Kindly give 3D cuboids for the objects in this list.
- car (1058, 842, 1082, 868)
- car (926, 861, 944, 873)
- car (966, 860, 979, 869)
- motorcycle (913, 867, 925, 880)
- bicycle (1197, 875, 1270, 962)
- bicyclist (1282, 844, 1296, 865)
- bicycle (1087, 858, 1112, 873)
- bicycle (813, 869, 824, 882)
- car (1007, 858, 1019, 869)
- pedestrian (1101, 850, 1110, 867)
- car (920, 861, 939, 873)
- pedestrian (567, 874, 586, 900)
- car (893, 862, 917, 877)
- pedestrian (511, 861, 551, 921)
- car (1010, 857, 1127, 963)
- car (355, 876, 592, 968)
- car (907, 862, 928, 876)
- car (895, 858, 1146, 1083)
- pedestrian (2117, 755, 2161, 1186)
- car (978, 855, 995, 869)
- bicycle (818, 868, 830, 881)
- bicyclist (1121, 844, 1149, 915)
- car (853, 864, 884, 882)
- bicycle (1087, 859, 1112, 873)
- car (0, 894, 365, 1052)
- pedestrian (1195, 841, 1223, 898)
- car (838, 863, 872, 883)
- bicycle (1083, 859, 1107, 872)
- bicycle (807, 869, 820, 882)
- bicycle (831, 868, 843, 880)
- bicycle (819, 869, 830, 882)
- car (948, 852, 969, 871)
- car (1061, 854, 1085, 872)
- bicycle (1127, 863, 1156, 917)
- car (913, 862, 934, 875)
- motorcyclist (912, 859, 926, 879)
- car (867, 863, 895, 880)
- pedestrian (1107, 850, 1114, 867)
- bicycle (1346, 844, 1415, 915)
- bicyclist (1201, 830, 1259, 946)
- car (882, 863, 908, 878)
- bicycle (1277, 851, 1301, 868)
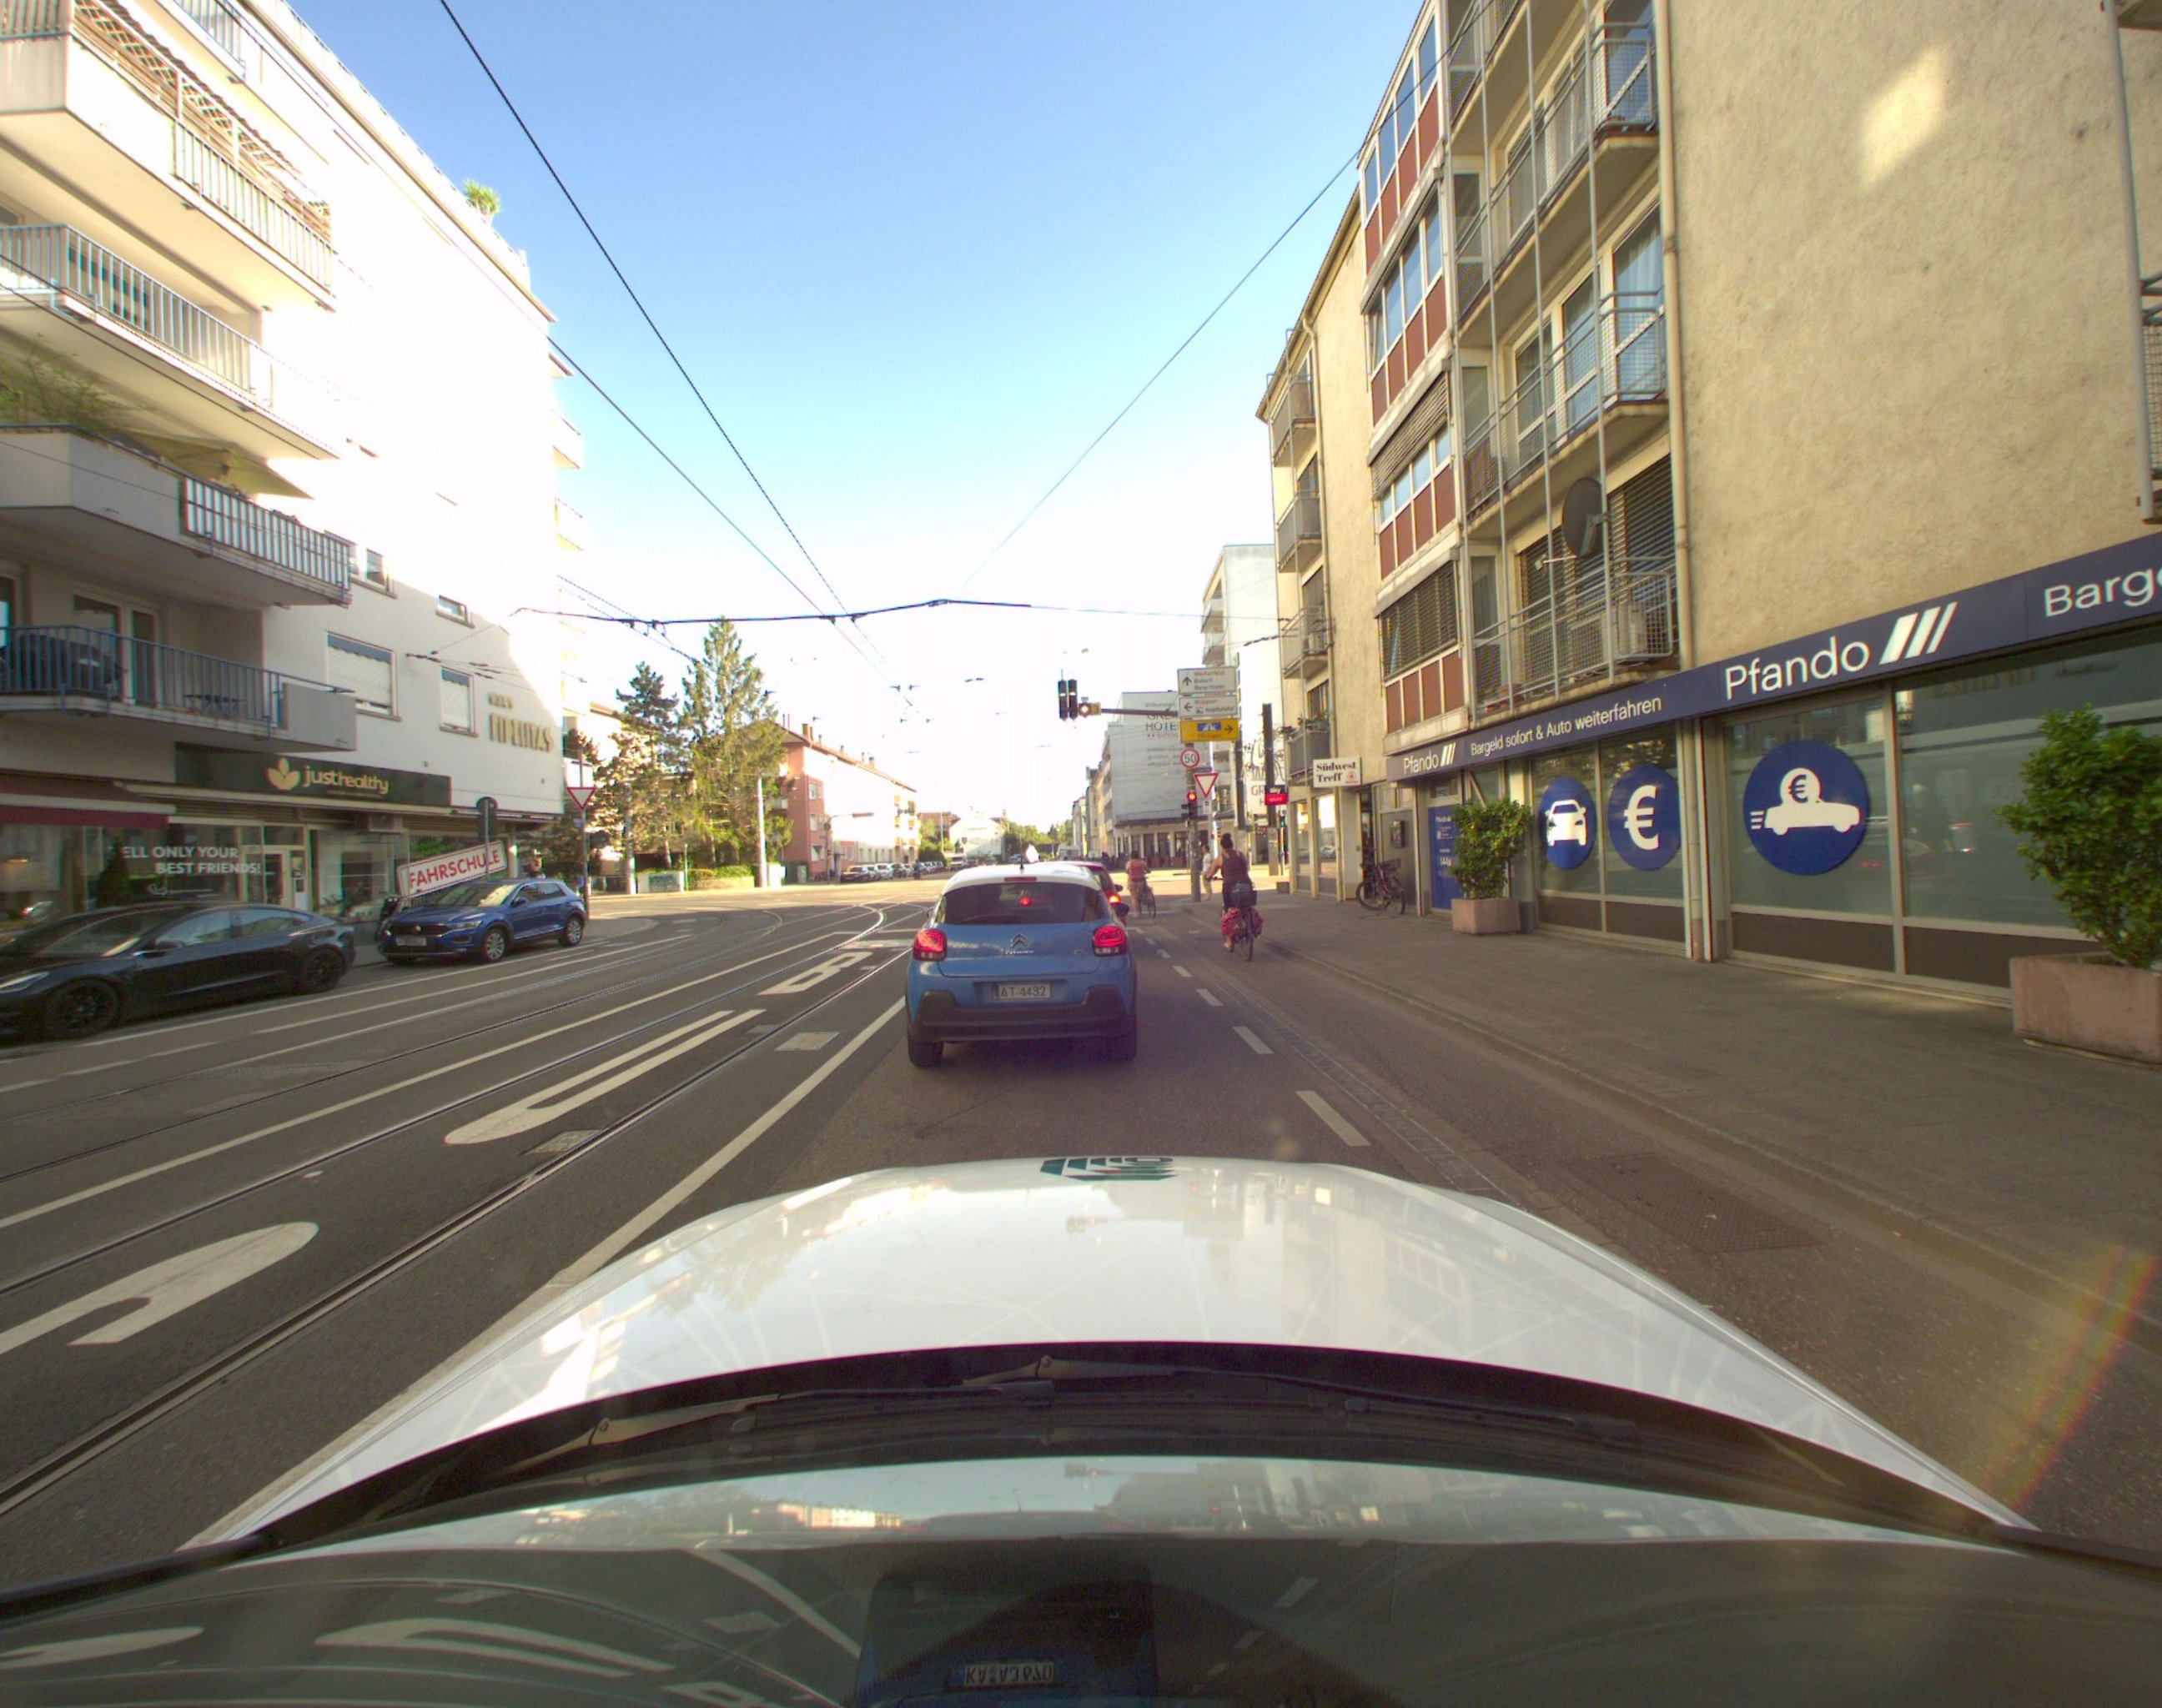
[{"bbox_3d":[-1.039,0.085,73.460,2.074,2.269,5.647,-1,0,-2],"label":"car"},{"bbox_3d":[-20.726,1.844,115.697,1.947,1.519,3.995,-2,0,-4],"label":"car"},{"bbox_3d":[-19.338,1.808,145.258,1.947,1.519,3.995,-2,0,-4],"label":"car"},{"bbox_3d":[-13.484,1.594,67.774,0.751,0.976,2.092,-2,0,-7],"label":"motorcycle"},{"bbox_3d":[2.196,0.902,11.964,0.615,1.103,1.884,-2,0,-2],"label":"bicycle"},{"bbox_3d":[14.457,0.056,56.580,0.720,1.434,0.609,-3,0,39],"label":"bicyclist"},{"bbox_3d":[1.516,0.930,65.949,1.901,1.064,0.641,-2,0,-6],"label":"bicycle"},{"bbox_3d":[-21.975,1.788,68.200,0.537,1.082,1.905,-2,0,-9],"label":"bicycle"},{"bbox_3d":[-14.267,1.971,171.424,2.333,2.039,5.044,-2,0,-4],"label":"car"},{"bbox_3d":[2.103,0.396,70.392,0.520,1.420,0.550,-3,0,22],"label":"pedestrian"},{"bbox_3d":[-20.299,1.766,109.341,1.947,1.519,3.995,-2,0,-4],"label":"car"},{"bbox_3d":[-34.438,2.244,55.576,0.805,1.702,0.681,-2,0,1],"label":"pedestrian"},{"bbox_3d":[-19.982,1.784,92.609,1.947,1.519,3.995,-2,0,-4],"label":"car"},{"bbox_3d":[-17.288,1.167,25.609,0.761,1.834,0.725,-2,0,28],"label":"pedestrian"},{"bbox_3d":[-0.227,0.812,13.721,1.675,1.462,3.997,-1,0,-2],"label":"car"},{"bbox_3d":[-11.879,1.243,16.339,1.720,1.505,4.113,0,0,-2],"label":"car"},{"bbox_3d":[-19.852,1.779,99.038,1.947,1.519,3.995,-2,0,-4],"label":"car"},{"bbox_3d":[-0.452,0.793,7.512,1.675,1.462,3.997,-1,0,-2],"label":"car"},{"bbox_3d":[4.331,0.402,2.599,0.871,1.571,0.868,-4,0,-1],"label":"pedestrian"},{"bbox_3d":[-12.408,1.044,107.514,2.002,1.627,5.044,-2,0,-5],"label":"car"},{"bbox_3d":[-23.050,1.836,73.120,0.536,1.082,1.908,-2,0,-4],"label":"bicycle"},{"bbox_3d":[1.369,0.635,20.707,0.598,1.746,1.084,-2,0,2],"label":"bicyclist"},{"bbox_3d":[-19.572,1.712,75.257,1.947,1.519,4.040,-2,0,-4],"label":"car"},{"bbox_3d":[1.525,0.961,67.255,1.901,1.064,0.641,-2,0,-6],"label":"bicycle"},{"bbox_3d":[-11.984,1.330,10.435,1.720,1.403,4.486,0,0,-2],"label":"car"},{"bbox_3d":[3.839,0.456,24.428,0.747,1.635,0.742,-2,0,7],"label":"pedestrian"},{"bbox_3d":[-19.291,1.595,69.633,1.947,1.519,3.995,-2,0,-4],"label":"car"},{"bbox_3d":[1.159,0.953,68.457,1.901,1.064,0.641,-2,0,-6],"label":"bicycle"},{"bbox_3d":[-22.381,1.788,68.091,0.640,1.082,1.905,-2,0,-9],"label":"bicycle"},{"bbox_3d":[-22.717,1.854,75.816,0.608,1.082,1.908,-2,0,-4],"label":"bicycle"},{"bbox_3d":[-21.596,1.788,68.485,0.537,1.082,1.905,-2,0,-9],"label":"bicycle"},{"bbox_3d":[-18.127,1.096,120.589,2.489,2.712,5.828,-2,0,-5],"label":"car"},{"bbox_3d":[-0.716,0.741,67.999,1.783,1.359,3.909,-2,0,-4],"label":"car"},{"bbox_3d":[1.532,0.889,20.740,0.611,1.264,1.911,-2,0,2],"label":"bicycle"},{"bbox_3d":[-20.098,1.794,104.052,1.947,1.519,3.995,-2,0,-4],"label":"car"},{"bbox_3d":[-13.475,1.266,67.707,0.990,1.631,0.737,-2,0,-7],"label":"motorcyclist"},{"bbox_3d":[-19.560,1.679,79.868,1.947,1.519,3.995,-2,0,-4],"label":"car"},{"bbox_3d":[2.523,0.380,70.131,0.467,1.420,0.524,-2,0,-11],"label":"pedestrian"},{"bbox_3d":[5.758,0.460,15.753,0.637,1.264,1.911,-2,0,2],"label":"bicycle"},{"bbox_3d":[2.175,0.482,11.948,0.615,1.630,0.759,-2,0,-3],"label":"bicyclist"},{"bbox_3d":[-19.730,1.733,86.541,1.947,1.519,3.995,-2,0,-4],"label":"car"},{"bbox_3d":[14.463,0.382,56.602,1.474,1.091,0.609,-3,0,39],"label":"bicycle"}]
